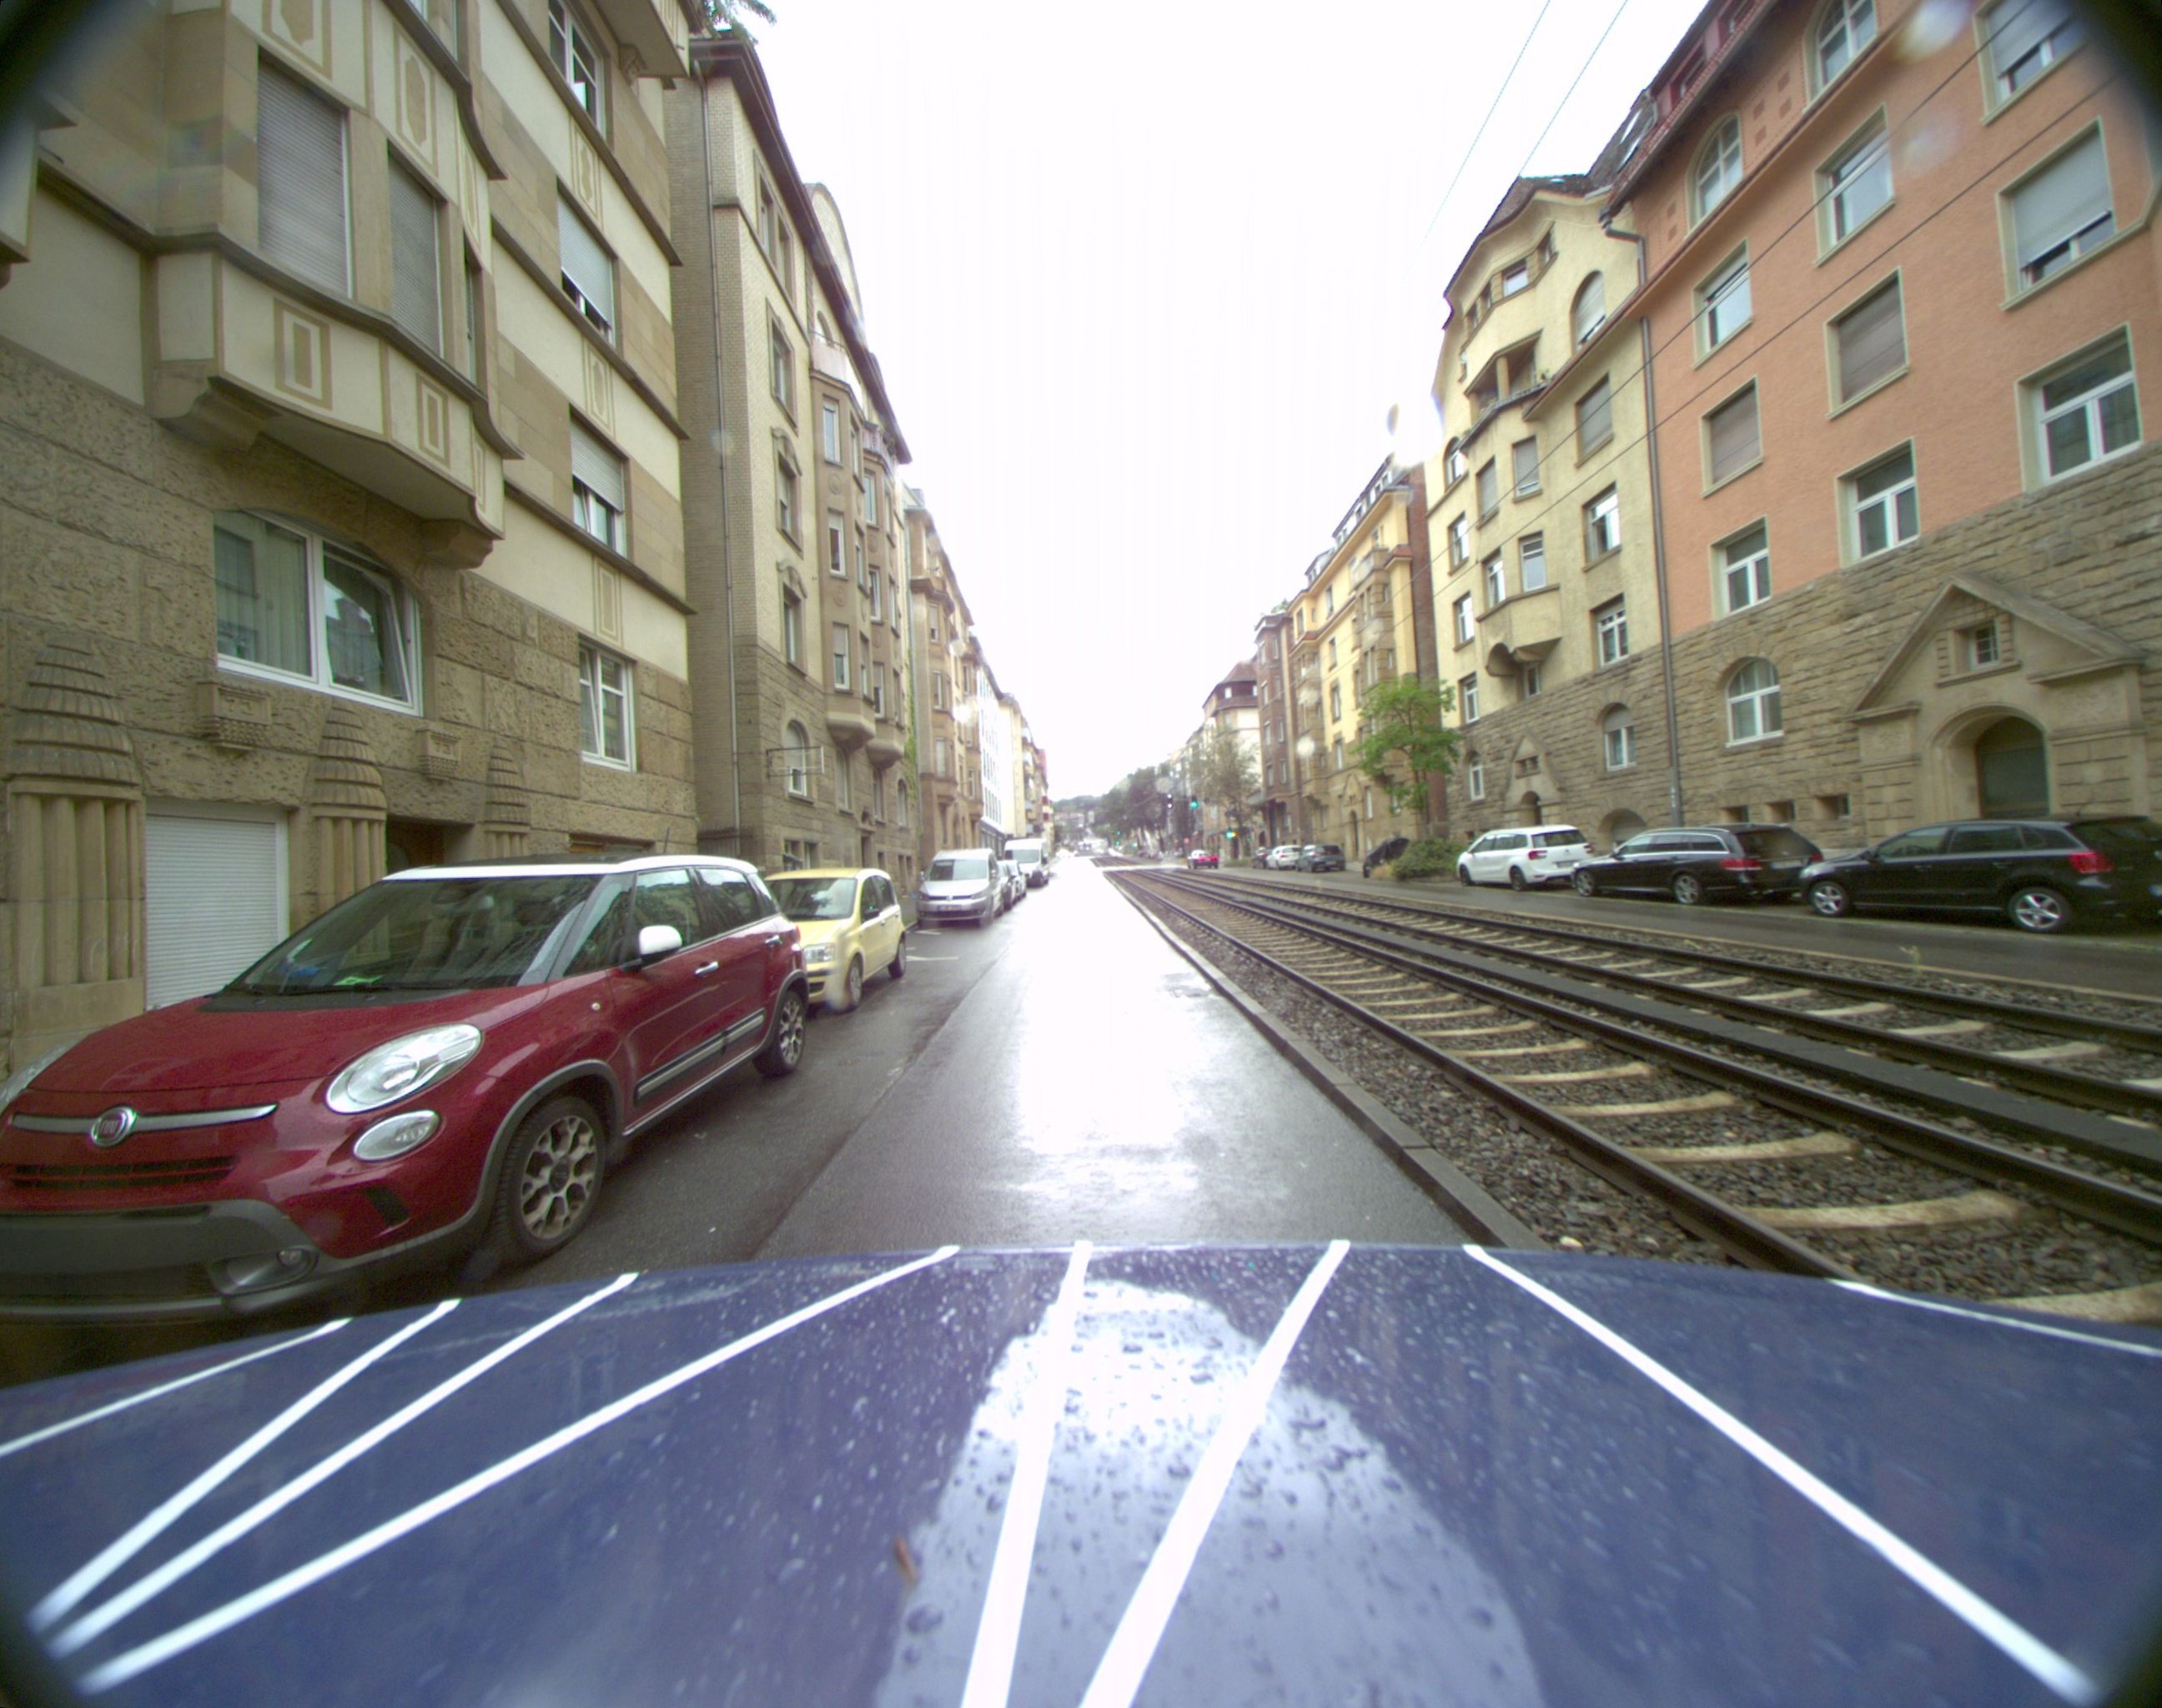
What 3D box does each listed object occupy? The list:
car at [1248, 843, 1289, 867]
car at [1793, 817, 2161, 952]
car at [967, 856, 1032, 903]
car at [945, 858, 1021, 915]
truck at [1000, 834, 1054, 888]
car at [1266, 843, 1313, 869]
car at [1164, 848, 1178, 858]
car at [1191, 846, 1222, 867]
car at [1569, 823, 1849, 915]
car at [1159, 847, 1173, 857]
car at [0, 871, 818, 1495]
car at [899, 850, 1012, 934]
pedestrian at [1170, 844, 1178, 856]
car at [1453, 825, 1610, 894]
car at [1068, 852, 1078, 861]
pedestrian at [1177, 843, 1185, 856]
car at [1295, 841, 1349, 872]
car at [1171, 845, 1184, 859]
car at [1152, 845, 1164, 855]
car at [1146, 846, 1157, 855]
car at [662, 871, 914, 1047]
[{"bbox_3d":[12.481,0.059,50.749,1.771,1.433,3.845,-3,0,1],"label":"car"},{"bbox_3d":[12.527,0.314,10.468,1.935,1.488,3.641,-2,1,-2],"label":"car"},{"bbox_3d":[-2.954,0.875,28.318,1.891,1.521,3.929,-3,0,1],"label":"car"},{"bbox_3d":[-2.965,0.934,23.817,1.999,1.521,3.999,-3,0,-3],"label":"car"},{"bbox_3d":[-2.725,0.334,39.947,2.235,2.521,6.143,-3,0,1],"label":"truck"},{"bbox_3d":[12.471,0.112,45.654,1.771,1.433,4.031,-3,0,2],"label":"car"},{"bbox_3d":[12.572,-0.110,106.384,1.583,1.303,3.845,-3,0,1],"label":"car"},{"bbox_3d":[9.827,0.187,59.780,1.807,1.514,4.965,-2,0,3],"label":"car"},{"bbox_3d":[12.290,0.246,15.385,1.847,1.486,4.601,-3,0,1],"label":"car"},{"bbox_3d":[12.868,-0.300,115.366,1.771,1.507,3.845,-3,0,1],"label":"car"},{"bbox_3d":[-3.034,0.976,4.094,1.807,1.590,3.999,-3,0,-1],"label":"car"},{"bbox_3d":[-3.011,0.844,19.200,1.968,1.792,4.459,-3,0,1],"label":"car"},{"bbox_3d":[14.749,-0.638,120.360,1.056,1.946,1.163,-3,1,2],"label":"pedestrian"},{"bbox_3d":[12.271,0.132,21.047,1.867,1.646,4.146,-3,0,1],"label":"car"},{"bbox_3d":[-1.771,0.546,172.305,1.998,1.838,4.000,-3,0,1],"label":"car"},{"bbox_3d":[15.892,-0.671,120.343,1.056,1.946,1.163,-3,1,2],"label":"pedestrian"},{"bbox_3d":[12.503,0.124,39.615,1.678,1.433,3.845,-4,1,3],"label":"car"},{"bbox_3d":[12.671,-0.255,99.546,1.583,1.669,3.790,-3,2,7],"label":"car"},{"bbox_3d":[12.837,-0.659,126.836,1.657,1.589,3.775,-3,0,1],"label":"car"},{"bbox_3d":[12.433,-0.660,133.705,1.632,1.537,3.801,-3,0,1],"label":"car"},{"bbox_3d":[-3.191,1.038,9.042,1.580,1.520,3.578,-3,0,-1],"label":"car"}]
